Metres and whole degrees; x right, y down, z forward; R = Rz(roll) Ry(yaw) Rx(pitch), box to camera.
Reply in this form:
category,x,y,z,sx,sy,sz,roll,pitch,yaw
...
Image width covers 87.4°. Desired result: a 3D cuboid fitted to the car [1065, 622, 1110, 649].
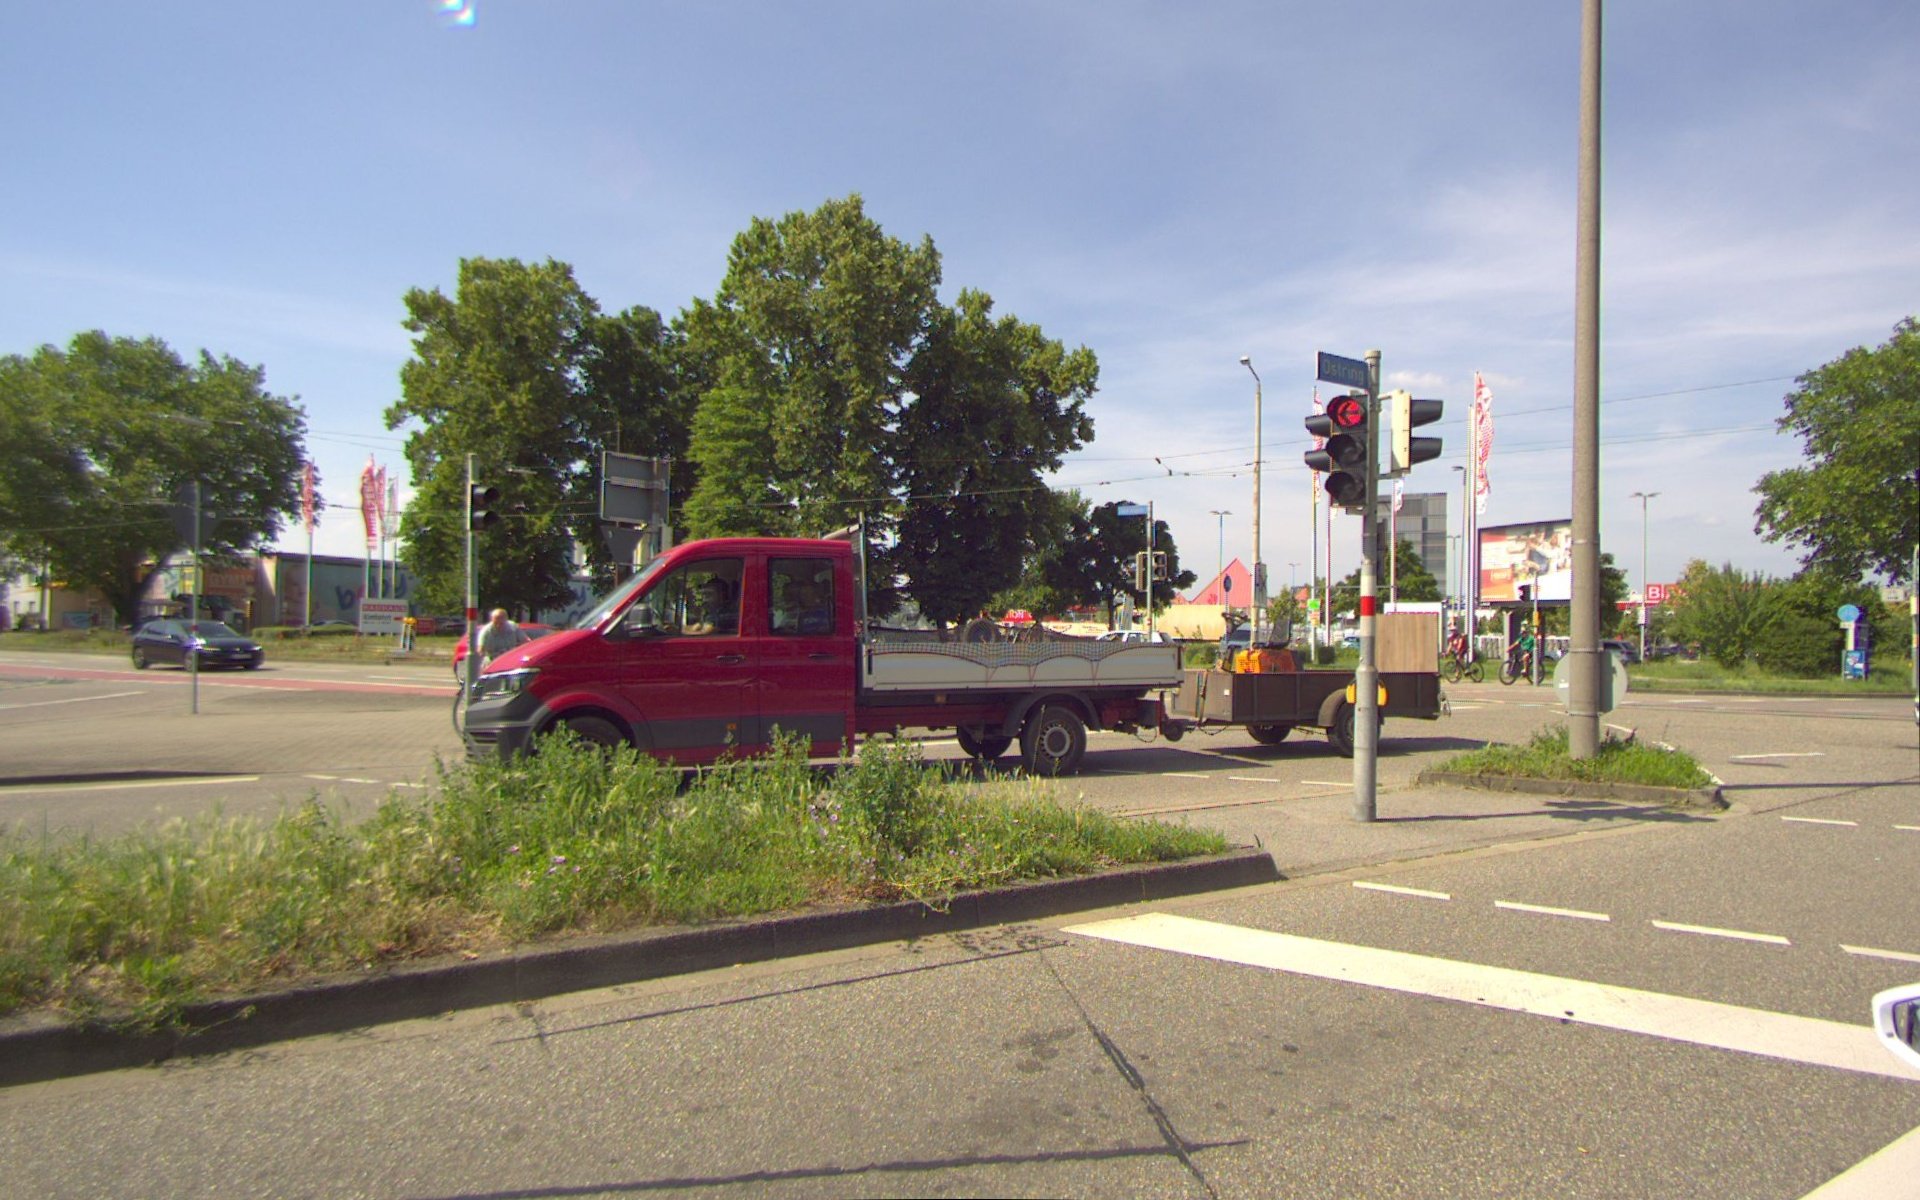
category,x,y,z,sx,sy,sz,roll,pitch,yaw
car,12.522,3.442,98.425,2.344,2.562,6.118,0,-2,28

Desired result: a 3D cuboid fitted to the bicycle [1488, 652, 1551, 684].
category,x,y,z,sx,sy,sz,roll,pitch,yaw
bicycle,17.650,2.144,31.672,1.963,0.950,0.416,1,-1,-14

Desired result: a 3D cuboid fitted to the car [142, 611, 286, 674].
category,x,y,z,sx,sy,sz,roll,pitch,yaw
car,-21.750,1.202,29.263,3.929,1.721,1.996,0,-2,31

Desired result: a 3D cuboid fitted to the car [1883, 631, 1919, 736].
category,x,y,z,sx,sy,sz,roll,pitch,yaw
car,15.922,1.240,14.532,3.662,1.534,1.654,1,-1,-1

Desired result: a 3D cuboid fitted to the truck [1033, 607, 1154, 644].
category,x,y,z,sx,sy,sz,roll,pitch,yaw
truck,11.012,2.112,83.079,9.431,2.930,2.925,0,-2,24

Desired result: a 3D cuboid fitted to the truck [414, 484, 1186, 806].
category,x,y,z,sx,sy,sz,roll,pitch,yaw
truck,-1.316,0.446,10.091,7.023,2.508,2.136,1,-1,-21

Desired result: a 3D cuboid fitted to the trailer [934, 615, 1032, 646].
category,x,y,z,sx,sy,sz,roll,pitch,yaw
trailer,1.957,2.619,87.110,8.057,2.523,2.924,0,-2,26

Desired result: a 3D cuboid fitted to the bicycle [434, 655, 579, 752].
category,x,y,z,sx,sy,sz,roll,pitch,yaw
bicycle,-5.706,1.260,12.582,2.128,1.078,0.524,0,-2,31

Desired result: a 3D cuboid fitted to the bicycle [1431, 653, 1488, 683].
category,x,y,z,sx,sy,sz,roll,pitch,yaw
bicycle,16.004,2.176,32.190,1.719,0.950,0.434,1,-1,-8

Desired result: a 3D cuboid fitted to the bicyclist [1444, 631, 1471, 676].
category,x,y,z,sx,sy,sz,roll,pitch,yaw
bicyclist,15.970,1.708,32.237,0.598,1.432,0.529,1,-1,-7

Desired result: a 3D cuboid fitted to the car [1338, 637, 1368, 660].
category,x,y,z,sx,sy,sz,roll,pitch,yaw
car,27.901,3.412,71.324,1.787,1.593,4.278,0,-2,24

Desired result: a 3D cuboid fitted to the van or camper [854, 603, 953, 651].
category,x,y,z,sx,sy,sz,roll,pitch,yaw
van or camper,-3.903,1.825,68.767,6.207,3.141,2.710,1,-1,26

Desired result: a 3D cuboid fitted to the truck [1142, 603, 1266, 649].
category,x,y,z,sx,sy,sz,roll,pitch,yaw
truck,18.460,1.920,76.186,8.753,3.355,3.159,0,-1,23

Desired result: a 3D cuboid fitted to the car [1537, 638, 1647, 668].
category,x,y,z,sx,sy,sz,roll,pitch,yaw
car,33.634,2.809,53.586,2.180,1.432,4.529,2,-2,-37

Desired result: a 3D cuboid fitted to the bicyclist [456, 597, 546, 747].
category,x,y,z,sx,sy,sz,roll,pitch,yaw
bicyclist,-5.748,0.879,12.593,0.754,1.812,0.704,0,-1,31

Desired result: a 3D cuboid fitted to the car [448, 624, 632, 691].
category,x,y,z,sx,sy,sz,roll,pitch,yaw
car,-9.944,1.315,23.794,3.924,1.468,1.846,0,-2,25

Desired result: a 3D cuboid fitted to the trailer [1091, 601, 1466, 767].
category,x,y,z,sx,sy,sz,roll,pitch,yaw
trailer,3.816,0.946,12.199,3.930,1.738,2.059,1,-2,-20

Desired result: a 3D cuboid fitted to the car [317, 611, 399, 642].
category,x,y,z,sx,sy,sz,roll,pitch,yaw
car,-45.916,2.049,76.702,2.112,2.308,5.037,0,-2,26

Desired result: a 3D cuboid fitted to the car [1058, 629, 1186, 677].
category,x,y,z,sx,sy,sz,roll,pitch,yaw
car,5.284,1.704,32.786,3.788,1.446,1.698,0,-2,26

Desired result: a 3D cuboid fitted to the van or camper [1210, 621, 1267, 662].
category,x,y,z,sx,sy,sz,roll,pitch,yaw
van or camper,16.177,2.387,58.154,2.155,2.239,5.513,0,-2,26

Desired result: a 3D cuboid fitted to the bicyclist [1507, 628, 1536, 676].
category,x,y,z,sx,sy,sz,roll,pitch,yaw
bicyclist,17.704,1.630,31.692,0.599,1.511,0.528,1,-1,-15

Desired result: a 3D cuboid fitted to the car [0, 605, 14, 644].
category,x,y,z,sx,sy,sz,roll,pitch,yaw
car,-59.170,1.408,58.809,2.111,2.308,5.039,0,-2,23

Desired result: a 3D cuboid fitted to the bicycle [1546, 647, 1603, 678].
category,x,y,z,sx,sy,sz,roll,pitch,yaw
bicycle,21.575,2.195,35.261,1.864,1.051,0.594,1,-1,-16
